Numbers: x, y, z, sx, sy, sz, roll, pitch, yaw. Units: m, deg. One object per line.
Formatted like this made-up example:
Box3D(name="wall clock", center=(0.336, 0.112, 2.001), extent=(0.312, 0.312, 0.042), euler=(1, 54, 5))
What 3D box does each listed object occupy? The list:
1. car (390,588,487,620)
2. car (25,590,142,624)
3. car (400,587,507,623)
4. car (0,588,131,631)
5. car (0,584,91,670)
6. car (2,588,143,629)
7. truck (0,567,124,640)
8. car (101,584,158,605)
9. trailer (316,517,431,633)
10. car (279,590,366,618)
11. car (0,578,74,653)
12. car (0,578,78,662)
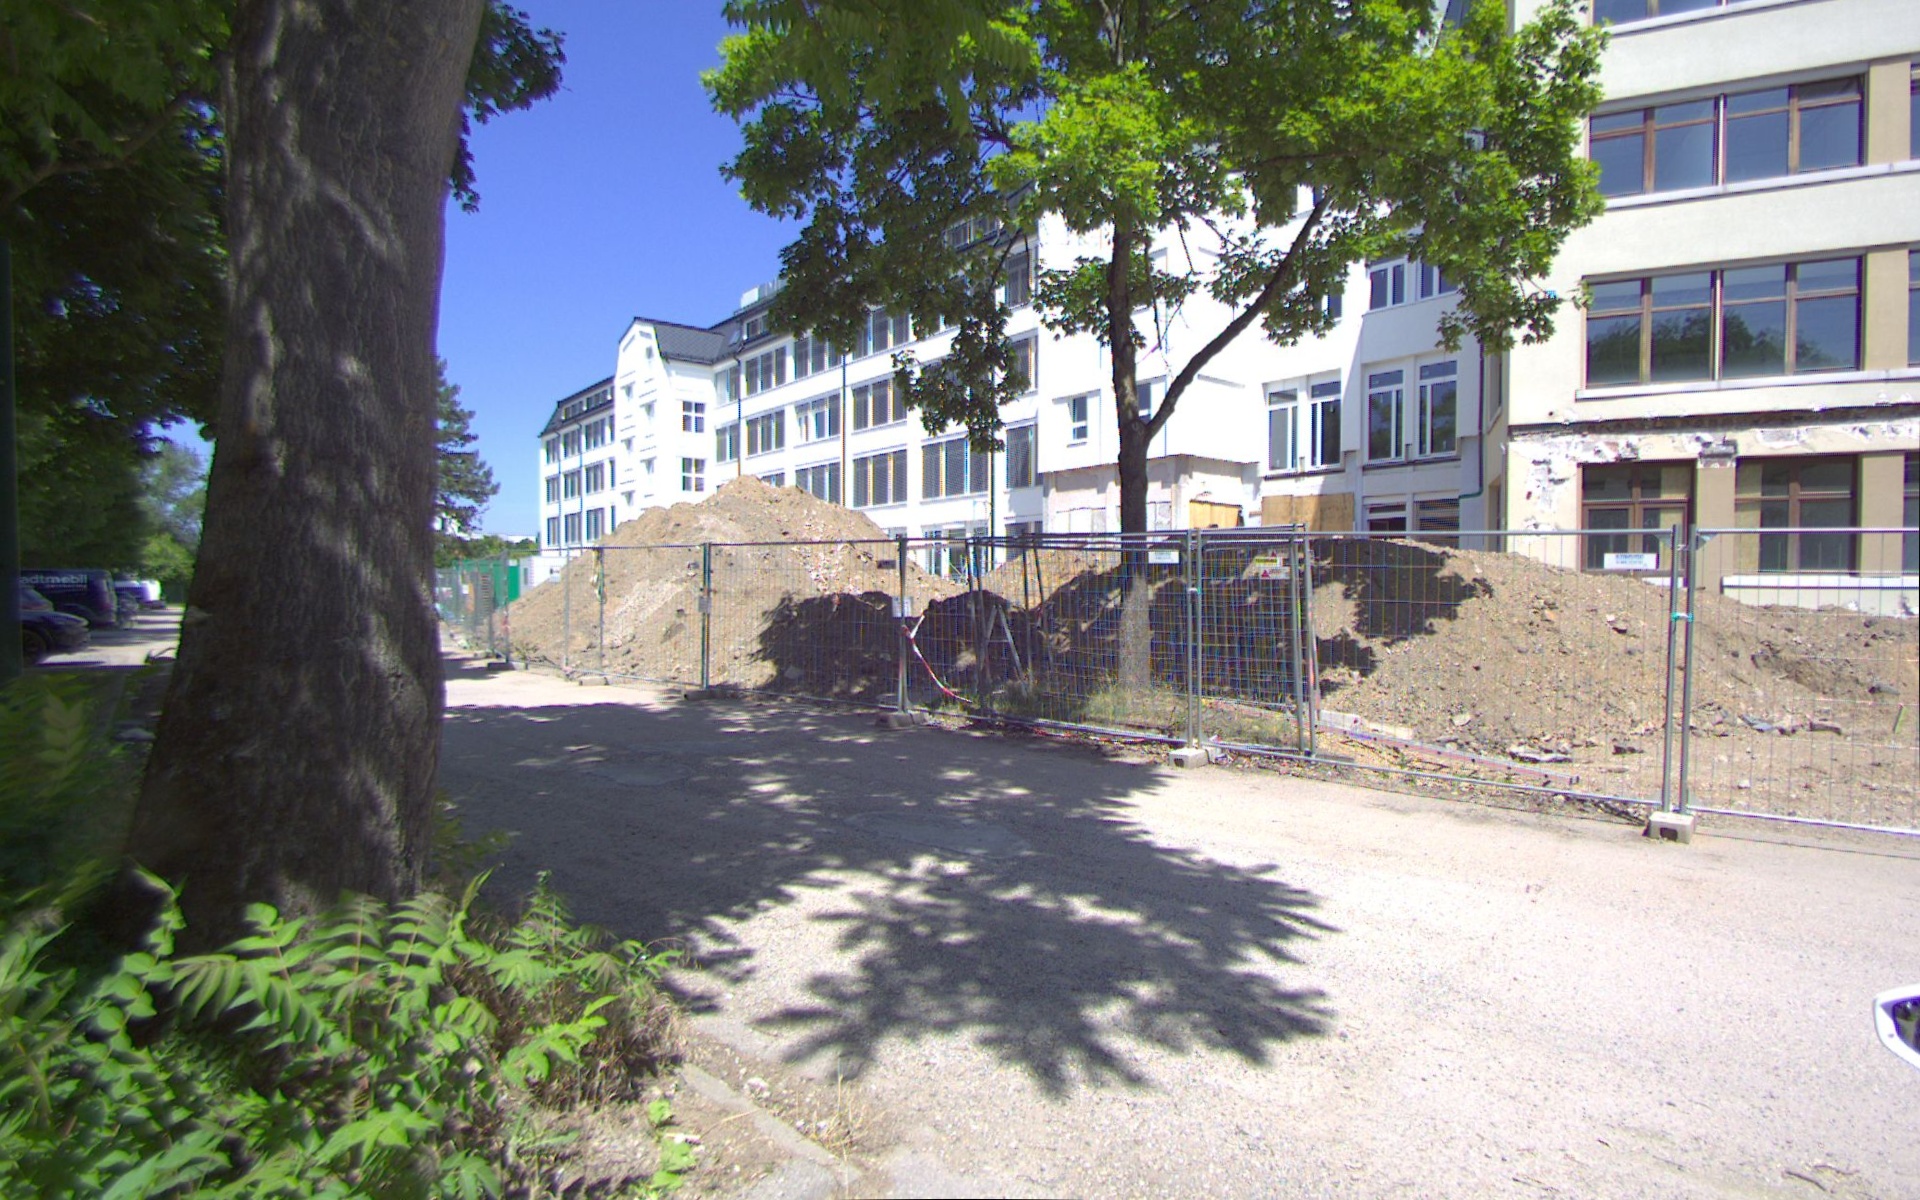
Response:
Box3D(name="car", center=(-24.097, 0.185, 46.446), extent=(3.756, 1.428, 1.722), euler=(1, 0, -38))
Box3D(name="car", center=(-38.451, 0.291, 44.192), extent=(3.756, 1.428, 1.722), euler=(1, 0, -38))
Box3D(name="car", center=(-21.287, 0.225, 42.250), extent=(3.756, 1.428, 1.722), euler=(1, 0, -38))
Box3D(name="car", center=(-31.333, 0.320, 34.938), extent=(3.756, 1.428, 1.722), euler=(1, 0, -38))
Box3D(name="car", center=(-18.126, 0.458, 17.857), extent=(3.966, 1.523, 1.671), euler=(1, 0, -39))
Box3D(name="car", center=(-32.351, 0.294, 36.763), extent=(3.756, 1.428, 1.722), euler=(1, 0, -38))
Box3D(name="truck", center=(-26.768, 0.084, 28.633), extent=(4.418, 2.021, 1.978), euler=(1, 0, -38))
Box3D(name="car", center=(-71.929, -0.501, 87.032), extent=(3.756, 1.744, 1.722), euler=(1, 0, -38))
Box3D(name="trailer", center=(-20.149, -0.770, 34.498), extent=(3.008, 3.467, 8.697), euler=(1, 0, -31))
Box3D(name="car", center=(-33.621, 0.216, 52.999), extent=(3.756, 1.428, 1.722), euler=(1, 0, -38))
Box3D(name="car", center=(-22.396, 0.335, 22.499), extent=(3.759, 1.657, 1.826), euler=(1, 0, -40))
Box3D(name="car", center=(-20.172, 0.382, 20.062), extent=(3.759, 1.657, 1.826), euler=(1, 0, -40))
